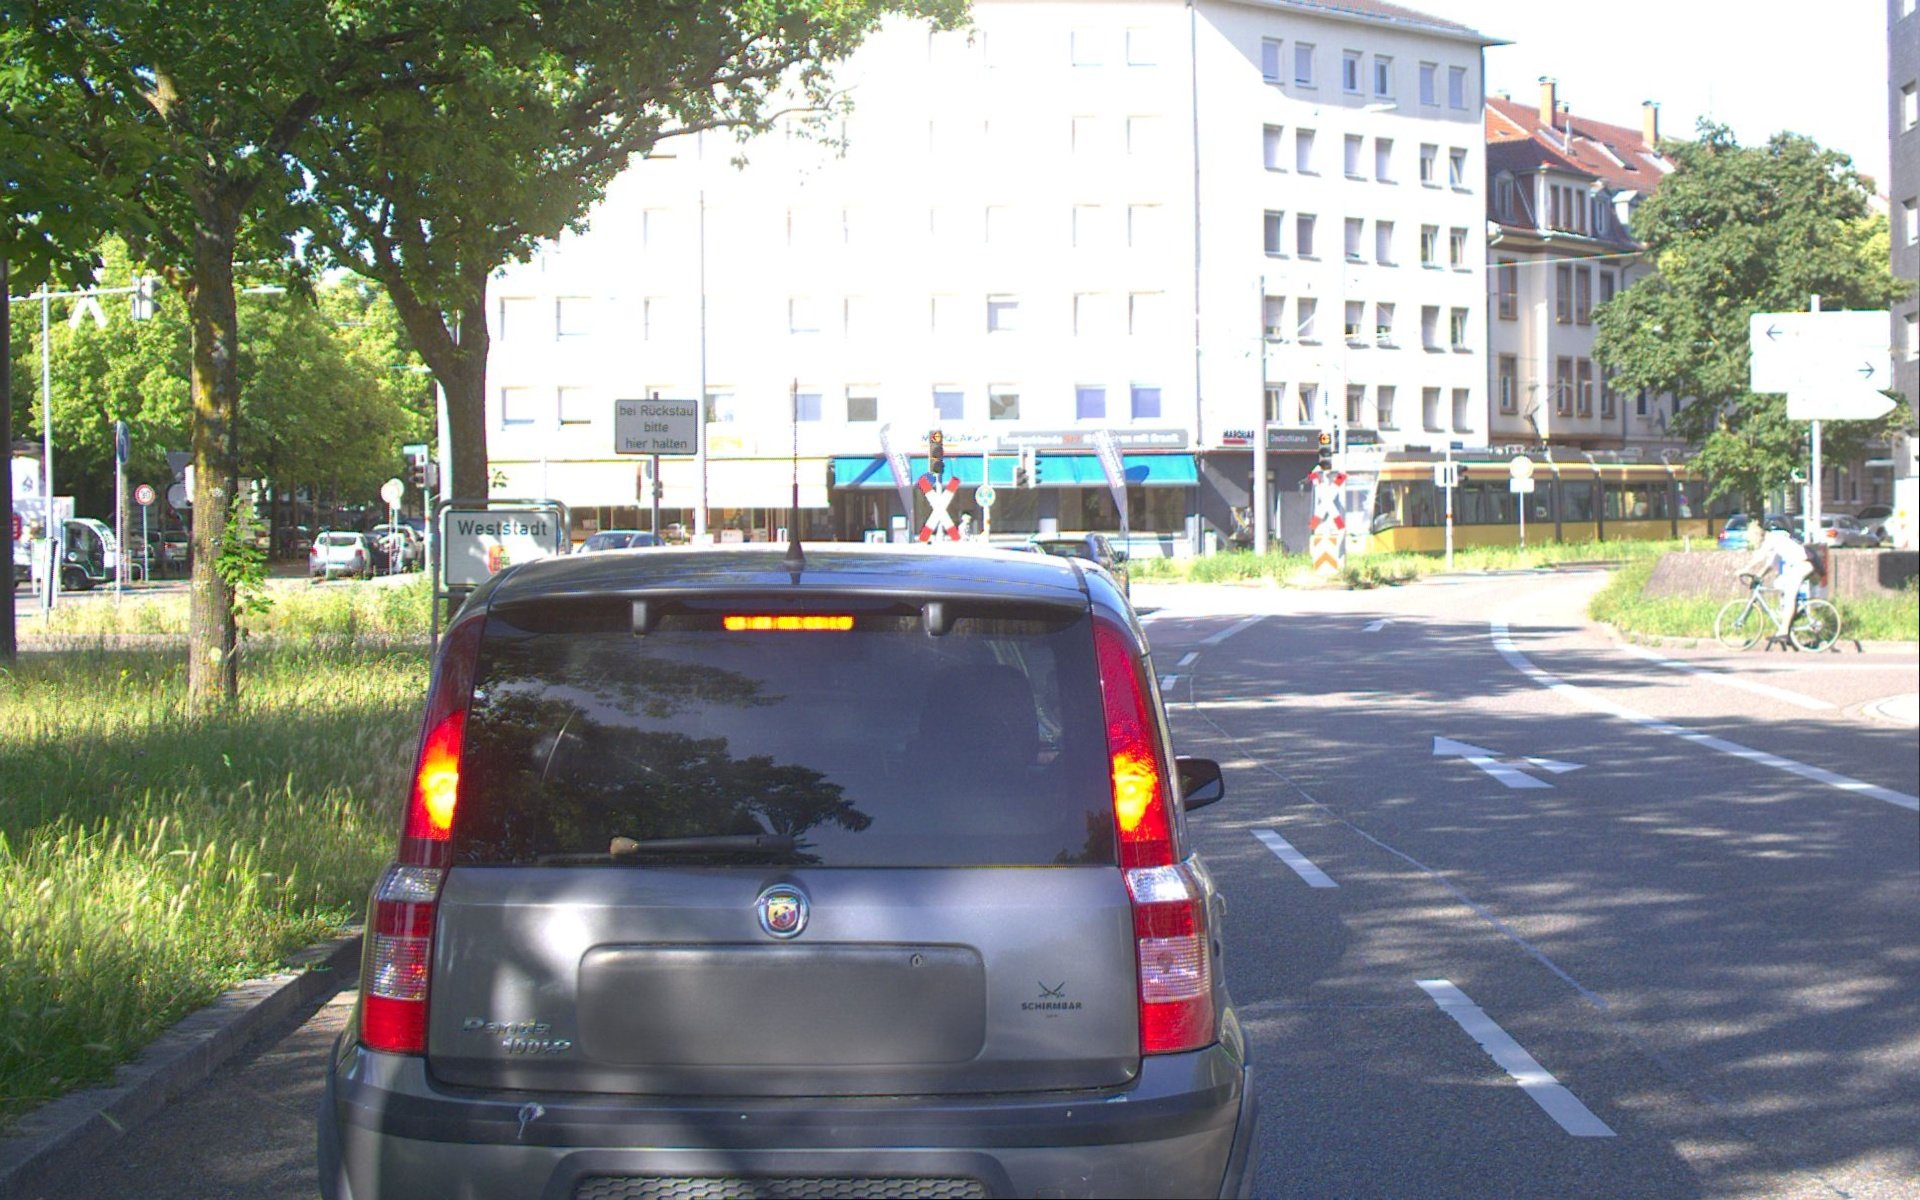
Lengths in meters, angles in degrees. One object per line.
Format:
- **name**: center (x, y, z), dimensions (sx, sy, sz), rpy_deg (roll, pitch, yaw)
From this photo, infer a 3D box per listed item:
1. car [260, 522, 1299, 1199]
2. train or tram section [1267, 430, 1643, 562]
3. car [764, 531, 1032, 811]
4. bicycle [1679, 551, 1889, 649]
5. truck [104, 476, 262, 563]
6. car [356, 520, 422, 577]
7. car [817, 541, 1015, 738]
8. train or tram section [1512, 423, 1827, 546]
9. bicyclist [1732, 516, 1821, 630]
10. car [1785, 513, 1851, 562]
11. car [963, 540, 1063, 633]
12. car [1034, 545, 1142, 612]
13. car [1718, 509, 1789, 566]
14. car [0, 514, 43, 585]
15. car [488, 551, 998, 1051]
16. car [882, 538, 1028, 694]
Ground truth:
- **car**: center (-0.302, 0.596, 7.426), dimensions (1.628, 1.503, 4.000), rpy_deg (-1, 1, -1)
- **train or tram section**: center (14.839, -3.005, 100.299), dimensions (3.301, 3.501, 19.350), rpy_deg (0, 2, 32)
- **car**: center (-0.362, 0.354, 20.687), dimensions (1.463, 1.503, 3.505), rpy_deg (0, 2, -1)
- **bicycle**: center (10.499, -0.009, 43.870), dimensions (2.517, 1.194, 0.709), rpy_deg (1, 1, 38)
- **truck**: center (-28.877, -2.992, 127.783), dimensions (5.485, 3.158, 2.340), rpy_deg (0, 1, 28)
- **car**: center (-20.513, -1.869, 123.592), dimensions (1.993, 2.007, 4.001), rpy_deg (-1, 1, -4)
- **car**: center (-0.348, 0.266, 27.293), dimensions (1.463, 1.420, 3.381), rpy_deg (0, 2, -1)
- **train or tram section**: center (24.096, -3.824, 115.020), dimensions (3.301, 3.757, 20.772), rpy_deg (0, 2, 32)
- **bicyclist**: center (10.431, -0.351, 43.917), dimensions (0.844, 1.433, 0.742), rpy_deg (1, 1, 38)
- **car**: center (23.451, -1.720, 93.888), dimensions (1.528, 1.310, 3.285), rpy_deg (0, 2, 18)
- **car**: center (0.747, -0.213, 49.603), dimensions (1.356, 1.277, 2.876), rpy_deg (0, 1, -1)
- **car**: center (2.170, -0.371, 57.677), dimensions (1.143, 1.060, 2.719), rpy_deg (0, 1, 17)
- **car**: center (20.881, -1.661, 90.396), dimensions (1.683, 1.444, 3.569), rpy_deg (0, 1, 15)
- **car**: center (-28.542, -1.431, 98.264), dimensions (4.176, 2.007, 1.932), rpy_deg (-1, 1, -2)
- **car**: center (-0.645, 0.558, 11.648), dimensions (1.463, 1.396, 3.393), rpy_deg (0, 1, -1)
- **car**: center (-0.062, 0.121, 33.871), dimensions (1.356, 1.444, 3.266), rpy_deg (-1, 1, -1)
